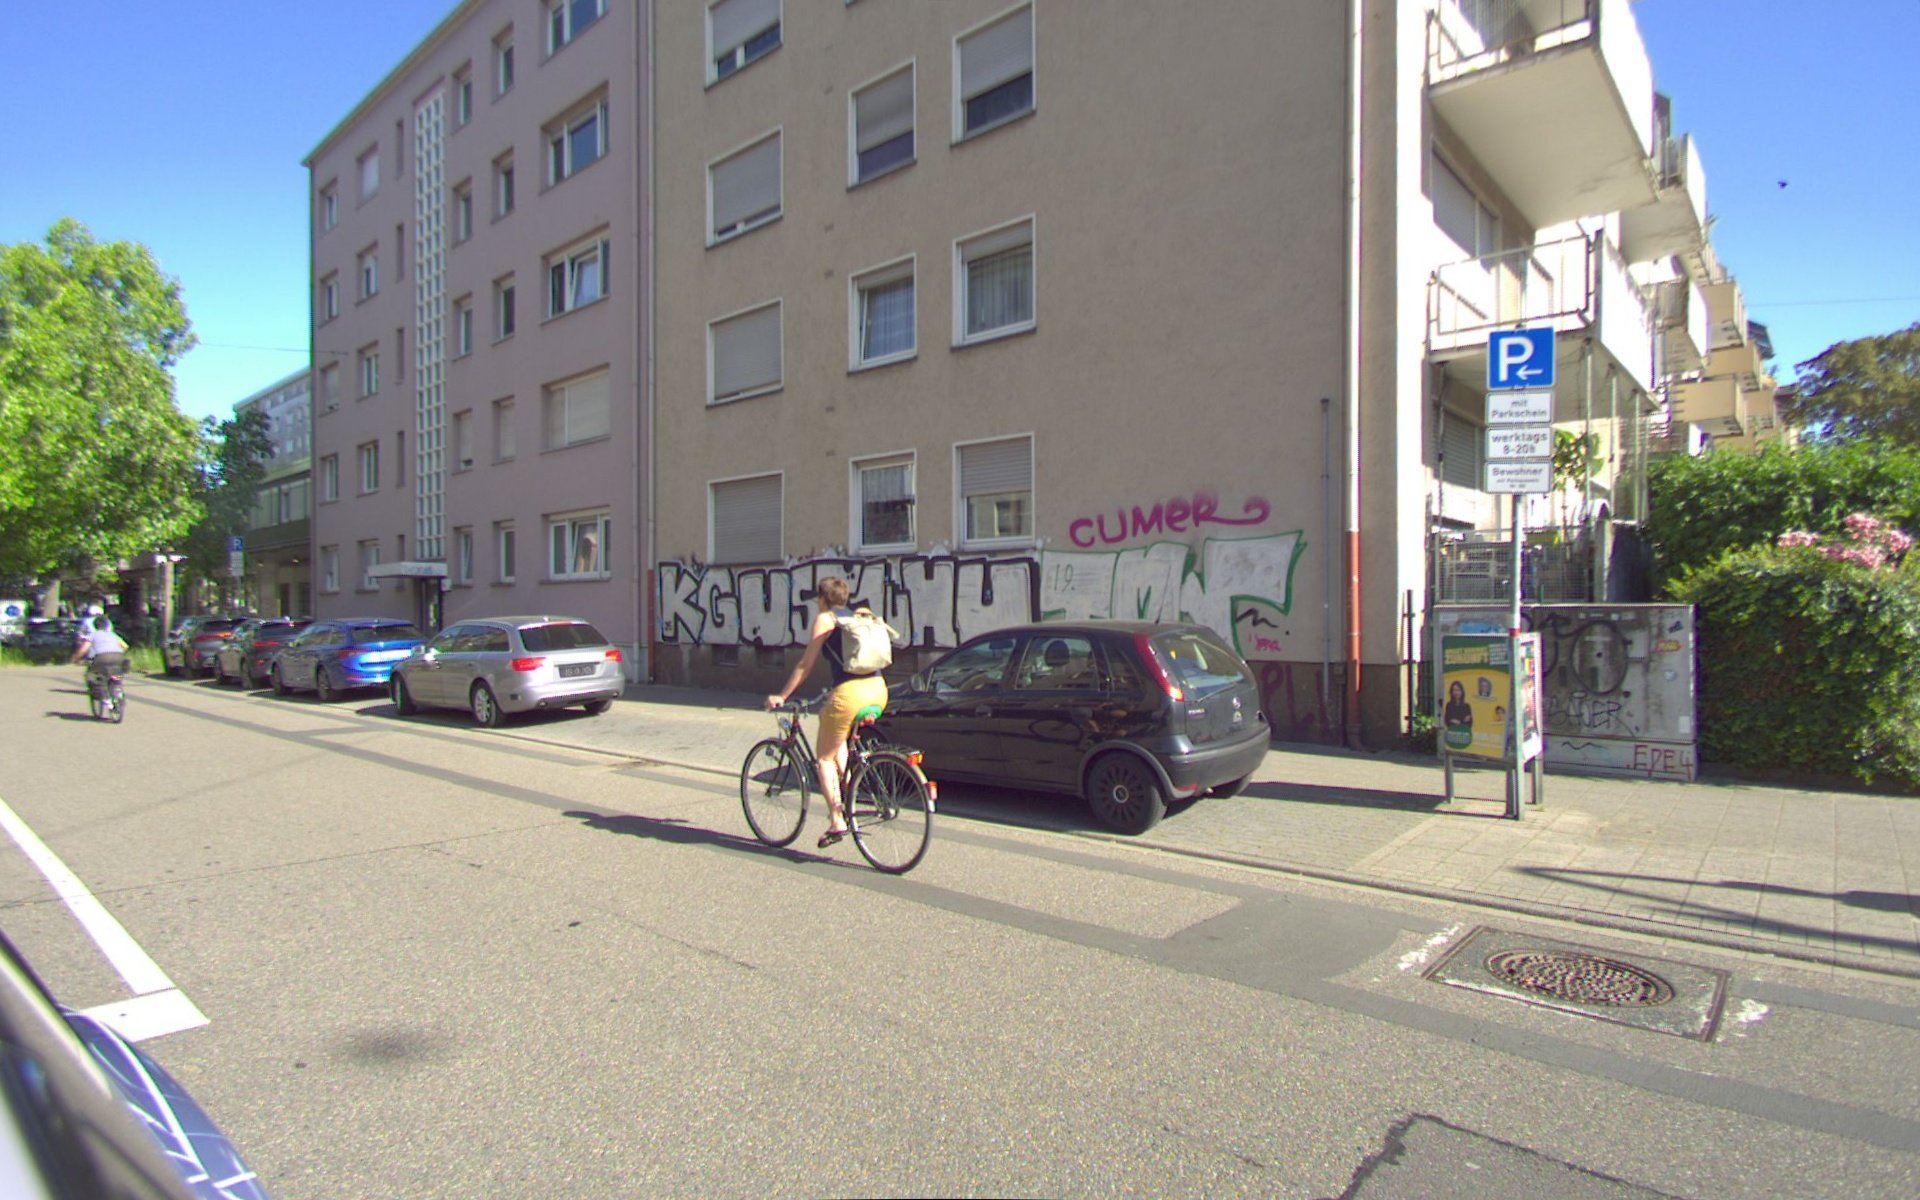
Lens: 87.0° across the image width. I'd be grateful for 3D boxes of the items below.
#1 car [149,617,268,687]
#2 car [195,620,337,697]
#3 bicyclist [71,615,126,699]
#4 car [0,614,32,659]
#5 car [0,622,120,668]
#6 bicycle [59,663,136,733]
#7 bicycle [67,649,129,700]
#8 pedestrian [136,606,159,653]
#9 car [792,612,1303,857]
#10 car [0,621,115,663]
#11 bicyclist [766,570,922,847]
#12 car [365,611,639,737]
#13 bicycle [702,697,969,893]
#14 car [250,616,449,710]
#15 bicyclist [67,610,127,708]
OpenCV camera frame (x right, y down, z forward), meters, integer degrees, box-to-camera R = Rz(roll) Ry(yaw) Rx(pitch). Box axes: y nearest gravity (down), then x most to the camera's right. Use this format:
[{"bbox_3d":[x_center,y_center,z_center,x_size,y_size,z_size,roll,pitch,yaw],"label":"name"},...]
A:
[{"bbox_3d":[-19.497,1.280,26.185,4.157,1.588,1.704,-1,1,43],"label":"car"},{"bbox_3d":[-15.497,1.224,22.513,4.157,1.478,1.704,-1,1,43],"label":"car"},{"bbox_3d":[-17.342,1.141,20.375,0.898,1.643,0.672,-2,-3,41],"label":"bicyclist"},{"bbox_3d":[-45.222,1.700,46.401,1.913,2.058,3.824,-2,-1,43],"label":"car"},{"bbox_3d":[-33.818,1.646,37.500,1.913,1.564,3.943,-2,-1,43],"label":"car"},{"bbox_3d":[-12.713,1.418,14.899,1.824,0.909,0.537,-1,-1,39],"label":"bicycle"},{"bbox_3d":[-17.395,1.475,20.402,1.933,0.959,0.672,-1,-2,42],"label":"bicycle"},{"bbox_3d":[-31.968,1.153,39.813,0.502,1.820,0.615,-2,-1,42],"label":"pedestrian"},{"bbox_3d":[0.559,0.882,8.204,3.853,1.459,1.674,-1,1,40],"label":"car"},{"bbox_3d":[-36.211,1.624,40.132,1.913,1.564,3.943,-2,-1,43],"label":"car"},{"bbox_3d":[-0.700,0.606,6.051,0.774,1.532,0.537,-2,-1,41],"label":"bicyclist"},{"bbox_3d":[-6.917,0.986,15.027,4.798,1.514,1.805,-1,1,40],"label":"car"},{"bbox_3d":[-0.811,1.105,6.142,1.825,0.909,0.537,-1,-1,42],"label":"bicycle"},{"bbox_3d":[-11.790,1.118,19.397,4.798,1.514,1.805,-1,1,40],"label":"car"},{"bbox_3d":[-12.715,0.848,14.907,0.787,1.402,0.537,-1,-1,39],"label":"bicyclist"}]
